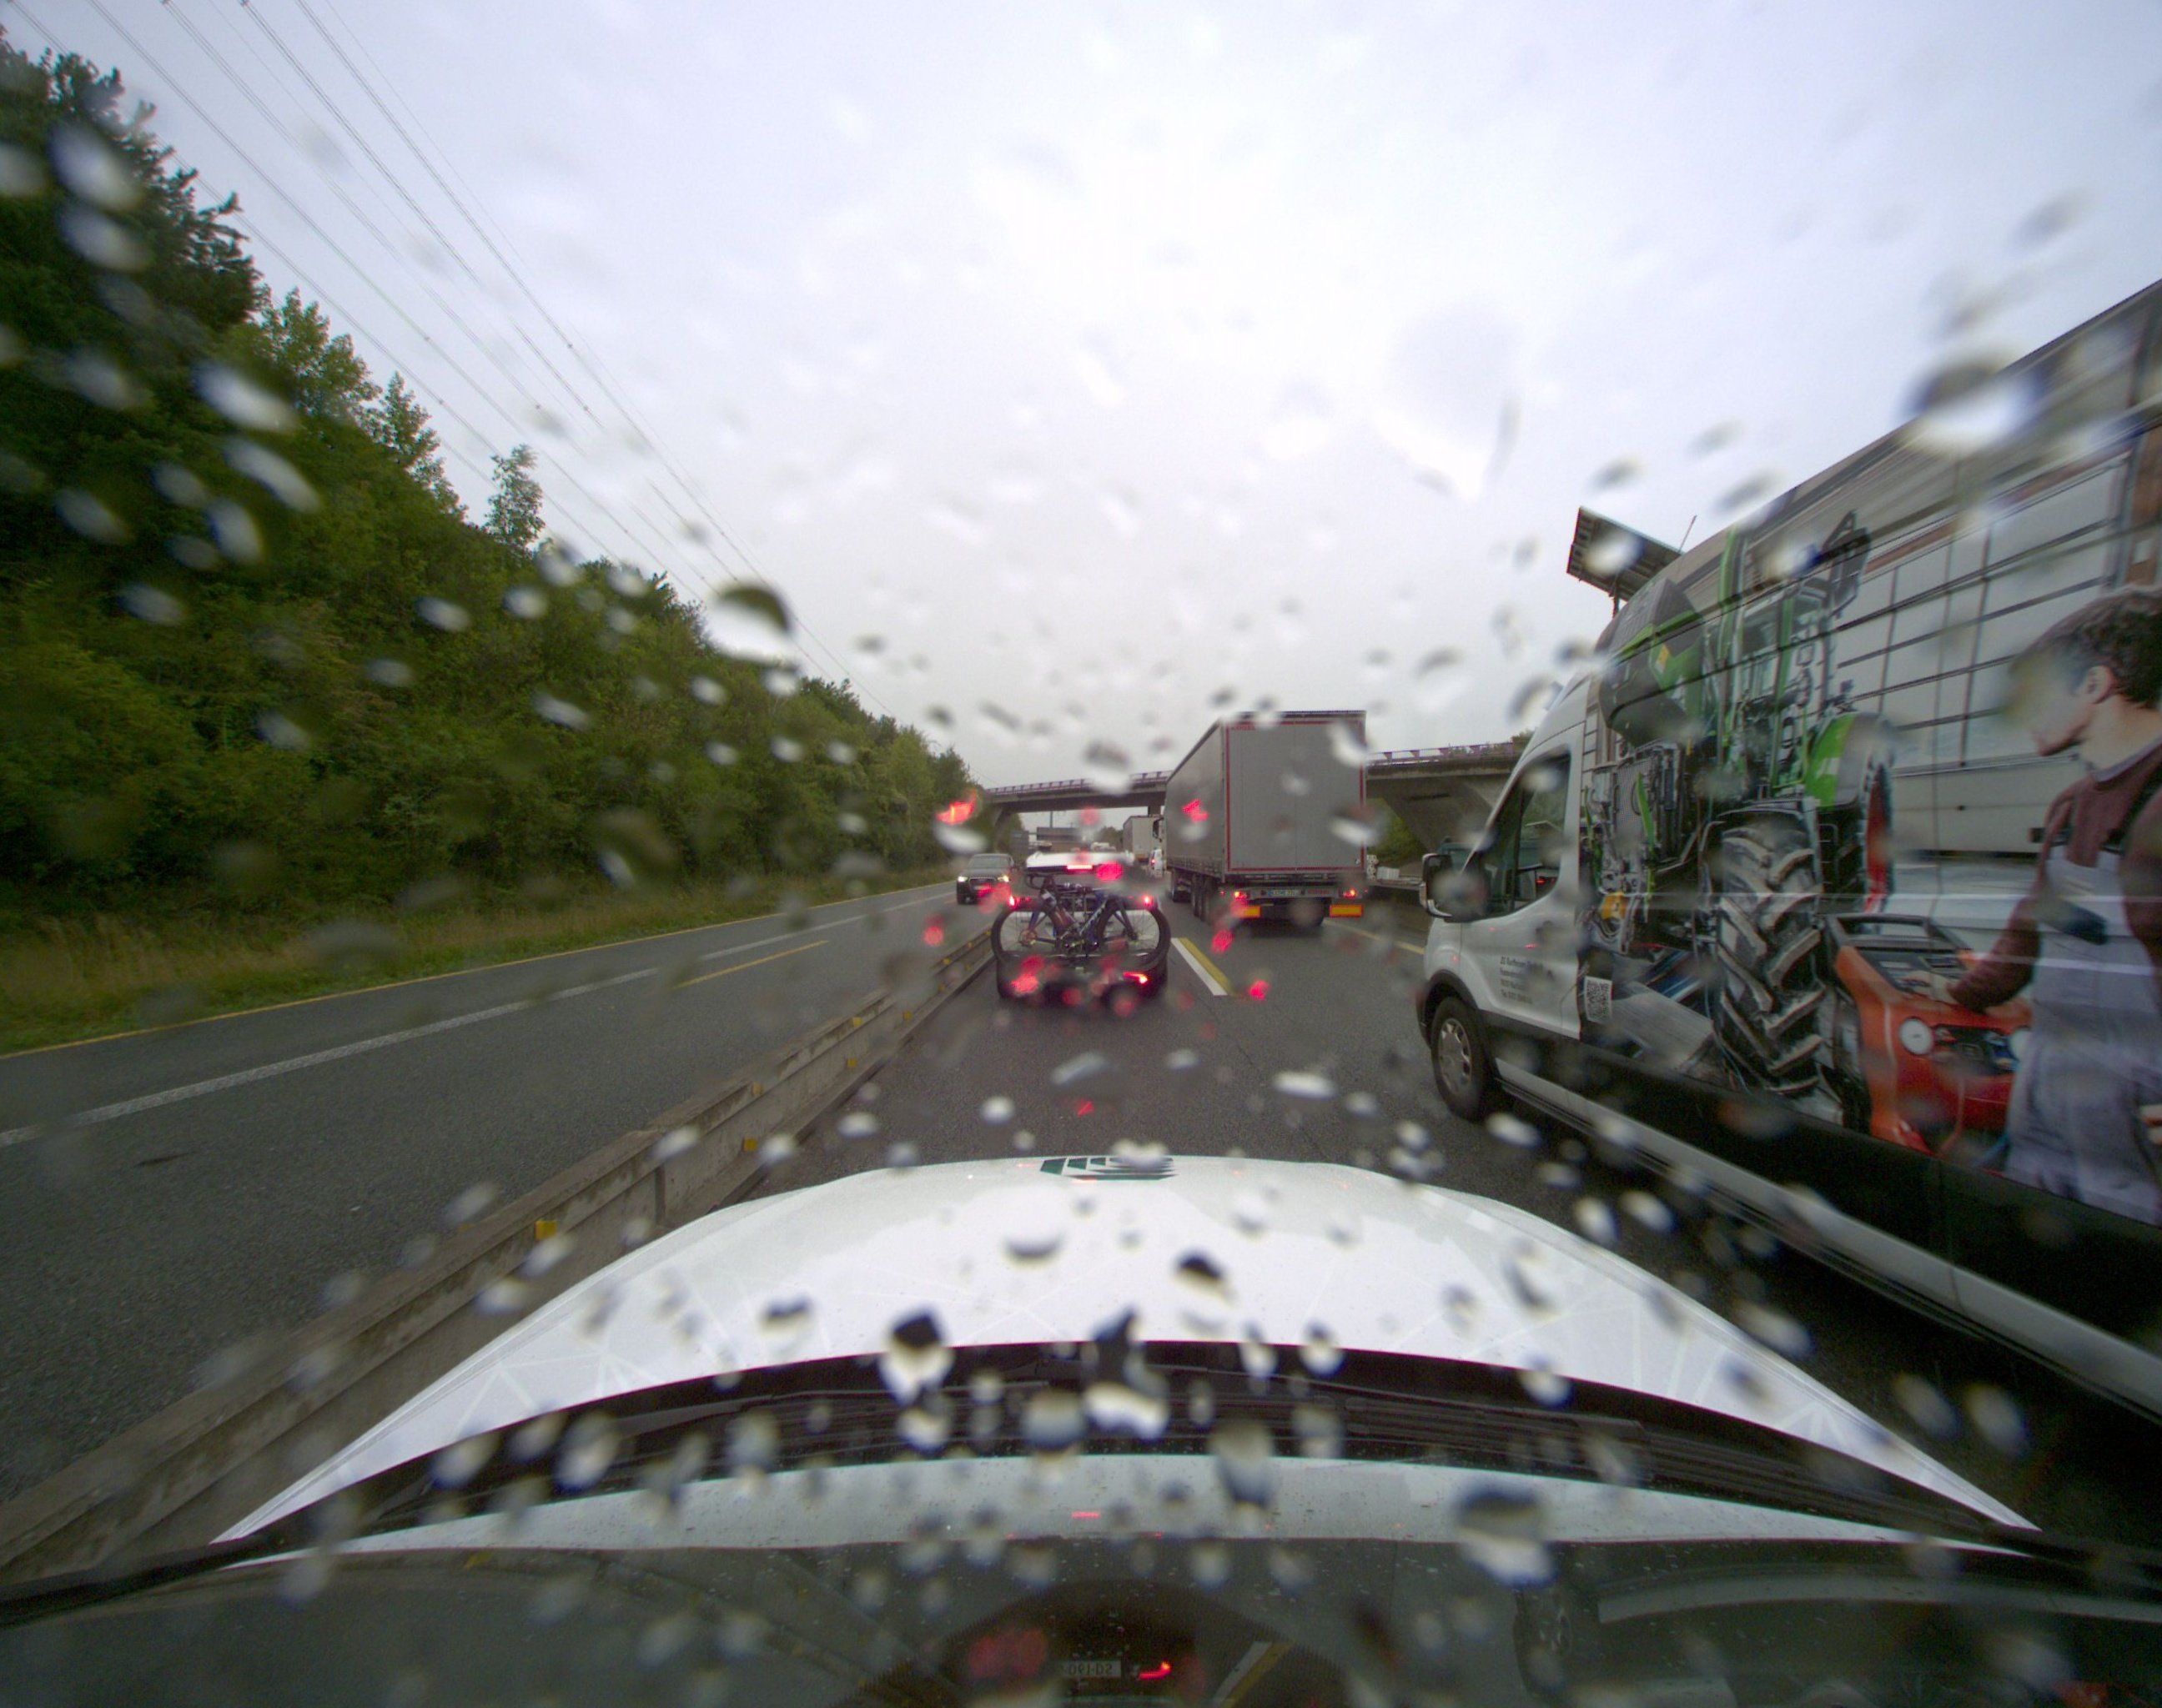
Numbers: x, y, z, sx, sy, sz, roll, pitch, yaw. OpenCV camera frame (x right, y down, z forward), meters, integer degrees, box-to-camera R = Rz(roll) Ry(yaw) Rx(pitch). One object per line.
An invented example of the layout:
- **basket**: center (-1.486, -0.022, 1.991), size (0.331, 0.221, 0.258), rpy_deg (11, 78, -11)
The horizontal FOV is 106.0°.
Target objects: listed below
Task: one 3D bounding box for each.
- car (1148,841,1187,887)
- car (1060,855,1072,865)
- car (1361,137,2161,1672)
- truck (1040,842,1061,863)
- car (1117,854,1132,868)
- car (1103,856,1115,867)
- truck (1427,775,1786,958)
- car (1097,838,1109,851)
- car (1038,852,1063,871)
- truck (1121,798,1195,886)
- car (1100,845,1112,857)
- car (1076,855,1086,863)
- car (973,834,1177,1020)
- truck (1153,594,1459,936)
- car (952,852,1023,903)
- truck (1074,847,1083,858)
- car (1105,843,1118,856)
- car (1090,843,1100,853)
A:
- **car**: center (4.307, 0.506, 41.156), size (1.663, 2.180, 4.537), rpy_deg (-1, -1, 2)
- **car**: center (-2.379, 0.979, 132.867), size (1.773, 1.443, 4.328), rpy_deg (-1, 0, 1)
- **car**: center (3.000, 0.097, 2.795), size (2.136, 2.676, 6.120), rpy_deg (-1, 0, 2)
- **truck**: center (-5.438, -0.209, 147.232), size (2.671, 3.656, 12.317), rpy_deg (-1, 0, 2)
- **car**: center (4.858, 0.797, 90.610), size (1.632, 1.497, 3.668), rpy_deg (-1, 0, 2)
- **car**: center (4.055, 1.098, 116.975), size (1.632, 1.497, 3.668), rpy_deg (-1, 0, 2)
- **truck**: center (11.004, 0.254, 18.619), size (2.511, 3.132, 9.122), rpy_deg (-1, 0, 2)
- **car**: center (4.164, -1.832, 154.295), size (2.231, 2.307, 4.574), rpy_deg (-1, -1, 2)
- **car**: center (-2.415, 0.613, 65.356), size (1.804, 1.488, 4.397), rpy_deg (-1, 0, 1)
- **truck**: center (5.570, -0.728, 63.292), size (4.723, 5.673, 20.391), rpy_deg (-1, 0, 3)
- **car**: center (4.322, -0.496, 141.347), size (1.986, 2.014, 4.002), rpy_deg (-1, -1, 2)
- **car**: center (-0.010, 0.986, 150.714), size (1.680, 1.409, 3.930), rpy_deg (-1, 0, 0)
- **car**: center (0.065, 0.670, 9.574), size (1.802, 1.637, 4.639), rpy_deg (-1, 0, 3)
- **truck**: center (4.648, -1.410, 23.790), size (3.964, 5.673, 20.385), rpy_deg (-1, 0, 2)
- **car**: center (-3.024, 0.751, 27.157), size (1.804, 1.559, 3.990), rpy_deg (-1, 0, 1)
- **truck**: center (-0.849, -0.466, 257.011), size (2.526, 3.352, 12.052), rpy_deg (-1, 0, 1)
- **car**: center (4.776, -0.641, 128.901), size (1.986, 2.014, 4.002), rpy_deg (-1, -1, 2)
- **car**: center (2.921, -1.294, 172.731), size (1.986, 2.126, 4.529), rpy_deg (-1, -1, 2)
